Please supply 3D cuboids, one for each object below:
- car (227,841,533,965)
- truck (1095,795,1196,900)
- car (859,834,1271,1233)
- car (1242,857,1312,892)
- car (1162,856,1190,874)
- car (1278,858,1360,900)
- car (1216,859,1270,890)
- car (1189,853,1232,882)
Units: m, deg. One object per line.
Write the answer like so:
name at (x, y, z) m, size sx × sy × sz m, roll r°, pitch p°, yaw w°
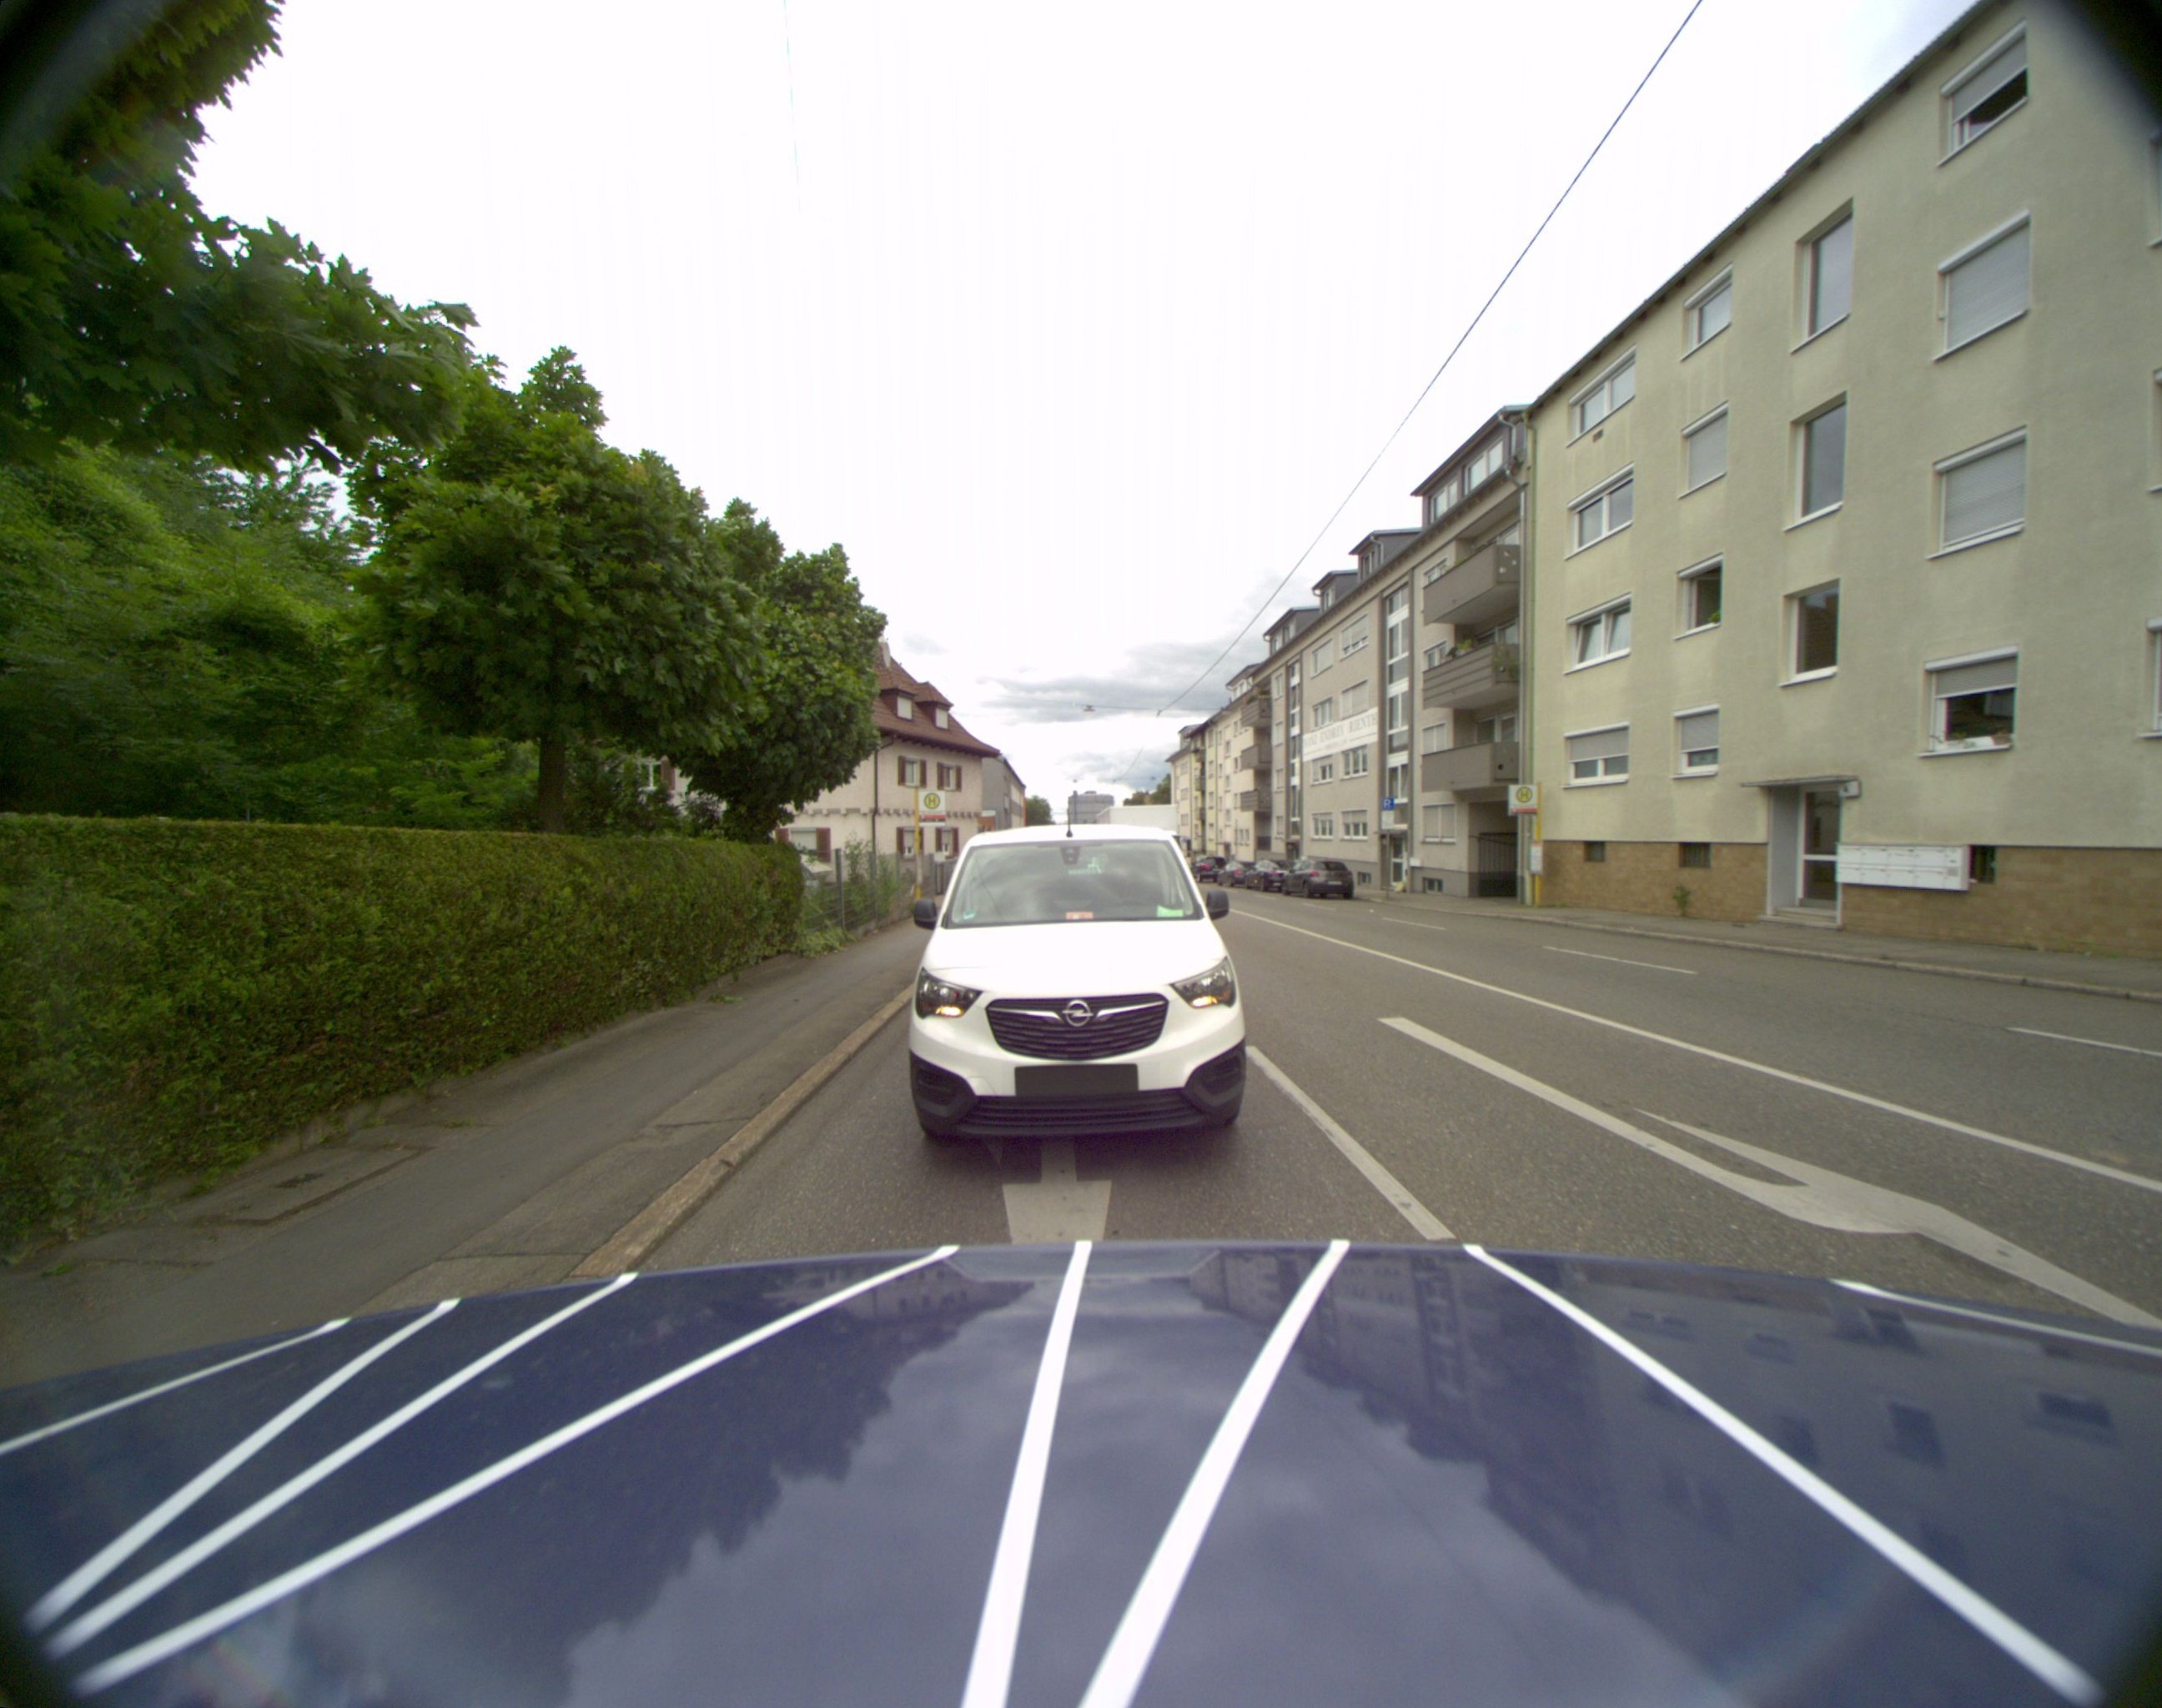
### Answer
car at (-13.148, 0.782, 14.447) m, size 1.994 × 2.002 × 4.008 m, roll -1°, pitch 0°, yaw 40°
truck at (2.332, -0.199, 30.425) m, size 2.777 × 3.554 × 8.061 m, roll -2°, pitch 0°, yaw -4°
car at (-0.128, 0.801, 5.470) m, size 1.803 × 1.736 × 3.999 m, roll -3°, pitch 1°, yaw -2°
car at (8.814, 0.873, 34.572) m, size 1.773 × 1.397 × 4.717 m, roll 1°, pitch 0°, yaw -2°
car at (8.184, 0.920, 65.989) m, size 1.875 × 1.372 × 4.307 m, roll 2°, pitch 0°, yaw 0°
car at (8.934, 0.898, 28.865) m, size 1.773 × 1.428 × 3.800 m, roll 1°, pitch 0°, yaw -2°
car at (8.481, 1.039, 40.092) m, size 1.773 × 1.397 × 4.306 m, roll 1°, pitch 0°, yaw -2°
car at (8.319, 0.814, 49.117) m, size 1.875 × 1.743 × 4.306 m, roll 1°, pitch 0°, yaw -2°
